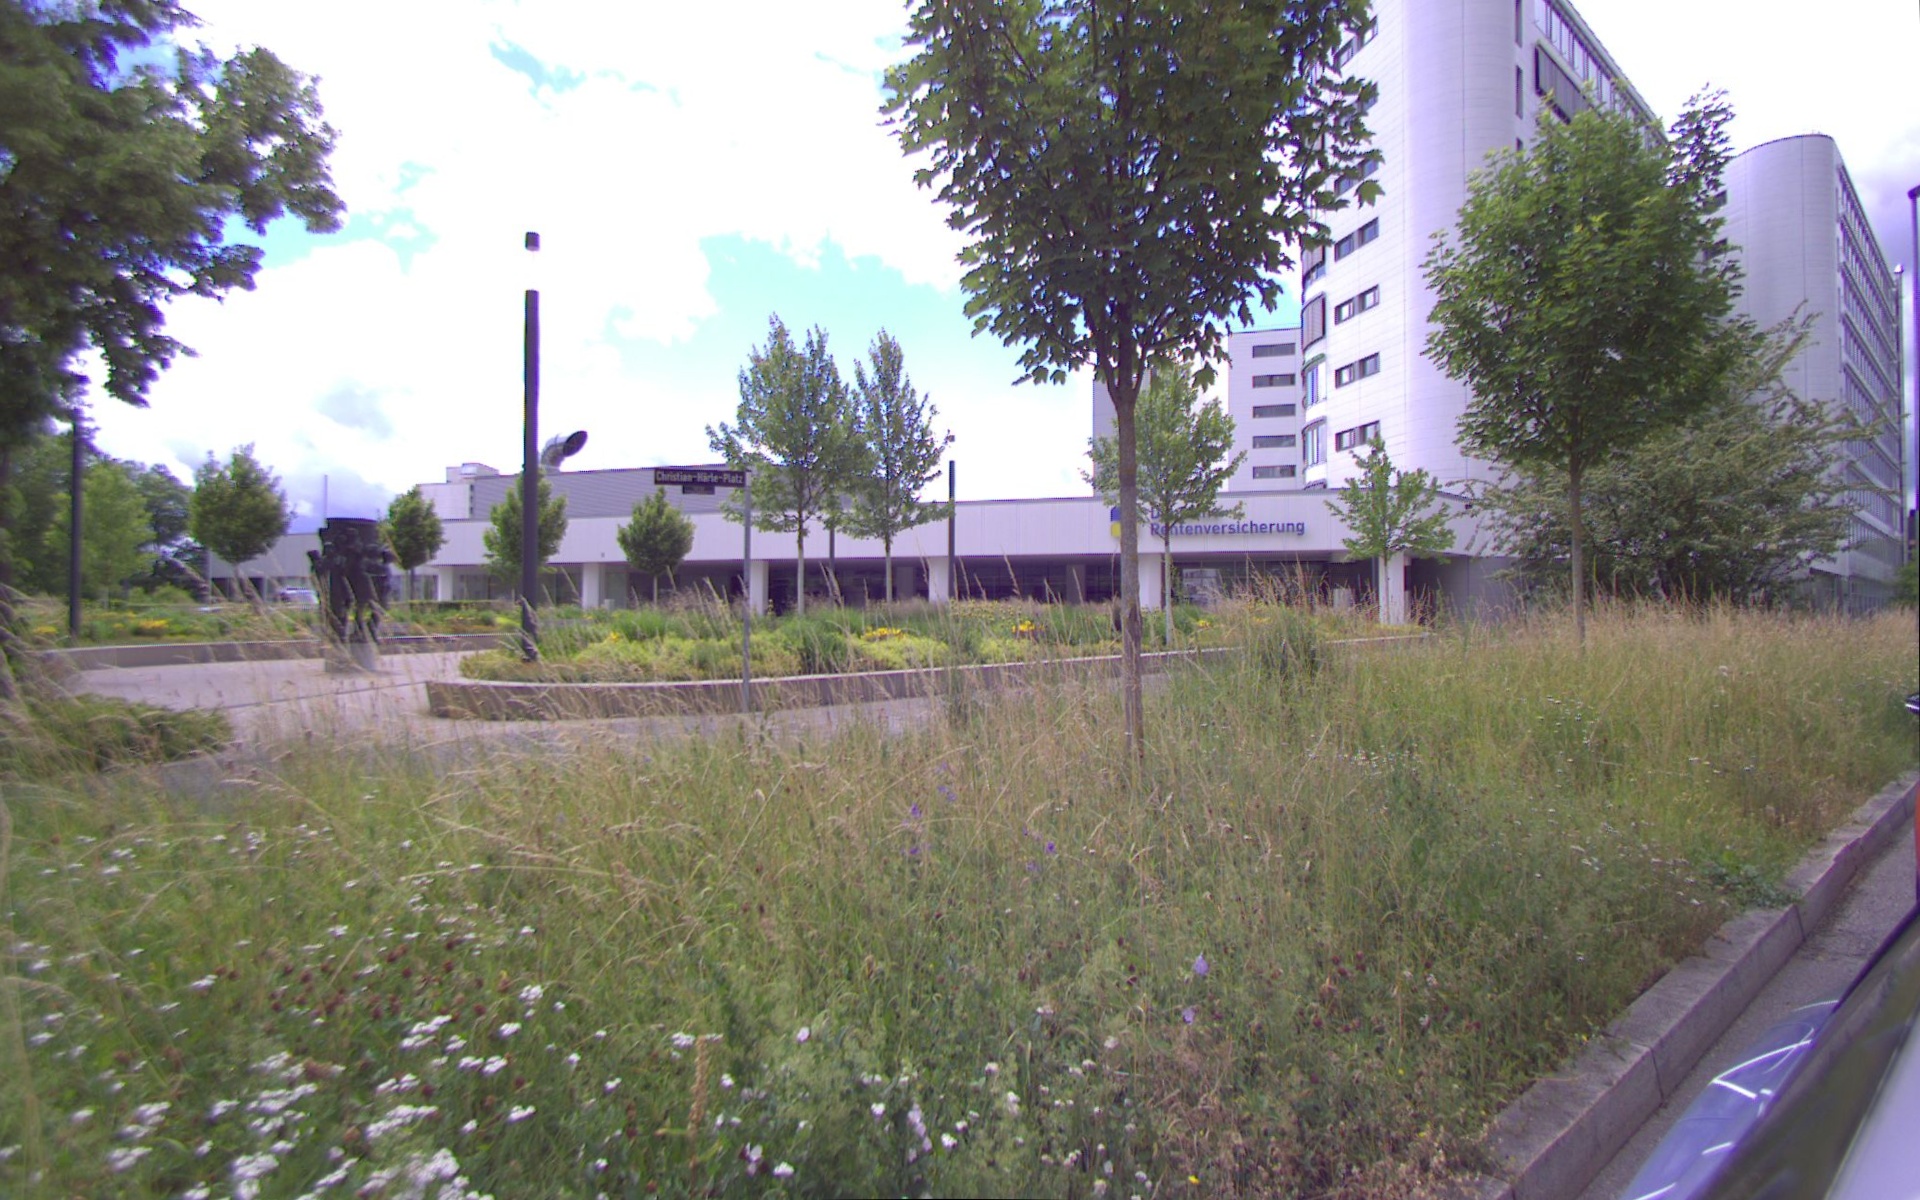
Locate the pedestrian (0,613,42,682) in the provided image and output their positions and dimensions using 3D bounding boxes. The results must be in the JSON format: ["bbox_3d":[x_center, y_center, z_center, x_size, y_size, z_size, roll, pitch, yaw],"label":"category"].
[{"bbox_3d":[-17.418,0.862,18.679,0.621,1.238,0.620,1,0,-36],"label":"pedestrian"}]

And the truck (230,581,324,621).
[{"bbox_3d":[-36.138,0.067,53.576,3.941,2.039,1.991,1,0,14],"label":"truck"}]

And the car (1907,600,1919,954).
[{"bbox_3d":[5.812,0.750,4.638,3.611,1.434,1.748,0,1,-41],"label":"car"}]
